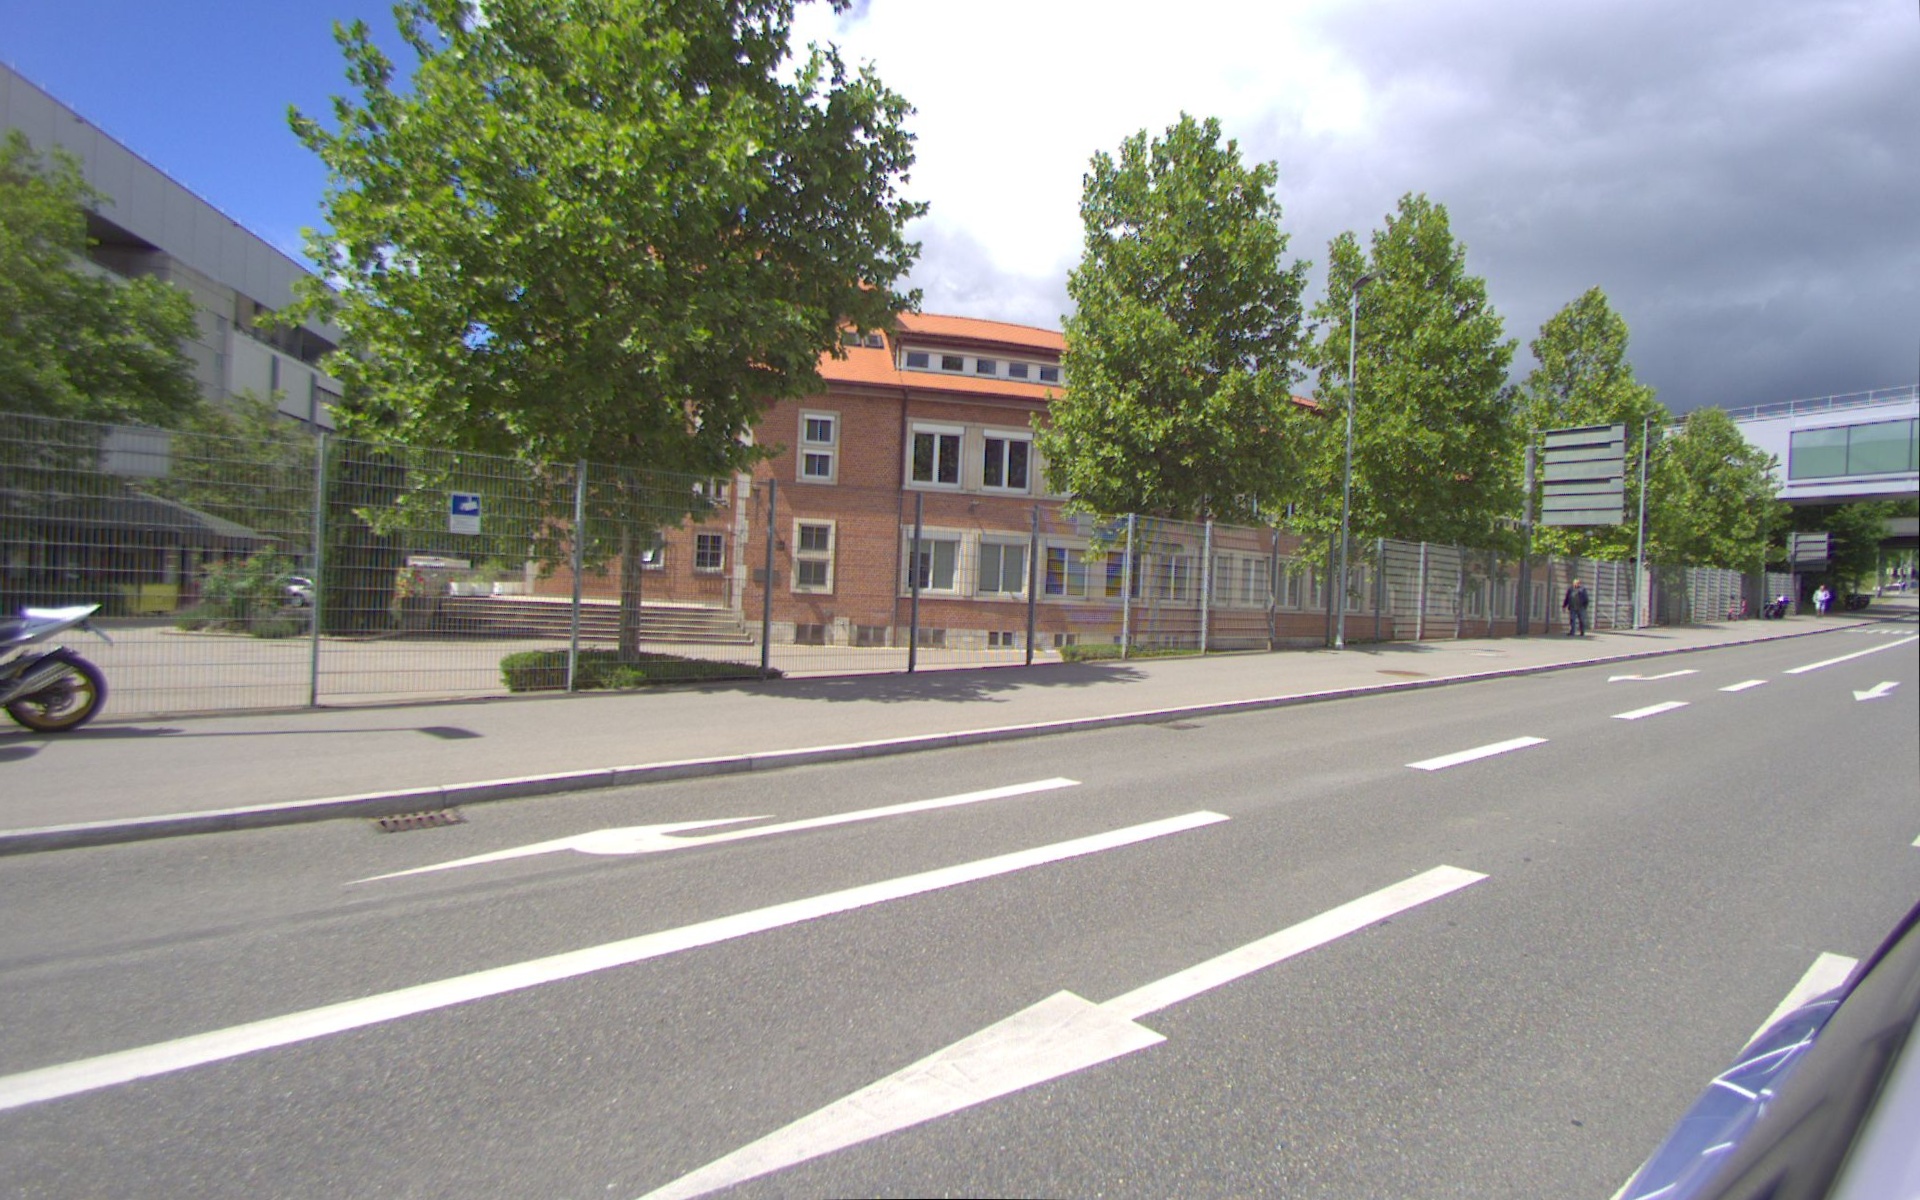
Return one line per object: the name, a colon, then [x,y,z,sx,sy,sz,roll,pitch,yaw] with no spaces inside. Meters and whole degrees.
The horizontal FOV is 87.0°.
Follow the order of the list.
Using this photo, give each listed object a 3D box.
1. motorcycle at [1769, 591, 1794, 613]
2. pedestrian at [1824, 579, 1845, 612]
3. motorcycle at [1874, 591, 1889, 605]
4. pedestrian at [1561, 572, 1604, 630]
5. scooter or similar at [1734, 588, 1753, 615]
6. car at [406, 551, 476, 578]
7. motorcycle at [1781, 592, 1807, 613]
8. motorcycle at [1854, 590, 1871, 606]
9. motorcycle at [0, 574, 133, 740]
motorcycle: [44.516,0.098,54.821,2.209,1.077,0.669,0,4,-43]
pedestrian: [51.896,-0.269,60.053,1.078,1.911,0.790,0,2,-43]
motorcycle: [73.435,-0.187,80.636,2.144,1.096,0.679,-1,2,-43]
pedestrian: [19.812,0.021,32.208,0.924,1.764,0.879,0,3,-42]
scooter or similar: [39.003,0.059,50.387,1.314,1.310,0.492,0,3,-42]
car: [-35.910,-2.469,70.161,3.916,1.805,2.004,-1,1,-13]
motorcycle: [46.844,0.137,56.830,2.467,1.077,0.709,-1,4,-43]
motorcycle: [68.450,-0.141,76.731,2.076,1.168,0.679,0,2,-41]
motorcycle: [-7.392,0.407,7.326,0.693,1.172,2.113,4,3,44]
